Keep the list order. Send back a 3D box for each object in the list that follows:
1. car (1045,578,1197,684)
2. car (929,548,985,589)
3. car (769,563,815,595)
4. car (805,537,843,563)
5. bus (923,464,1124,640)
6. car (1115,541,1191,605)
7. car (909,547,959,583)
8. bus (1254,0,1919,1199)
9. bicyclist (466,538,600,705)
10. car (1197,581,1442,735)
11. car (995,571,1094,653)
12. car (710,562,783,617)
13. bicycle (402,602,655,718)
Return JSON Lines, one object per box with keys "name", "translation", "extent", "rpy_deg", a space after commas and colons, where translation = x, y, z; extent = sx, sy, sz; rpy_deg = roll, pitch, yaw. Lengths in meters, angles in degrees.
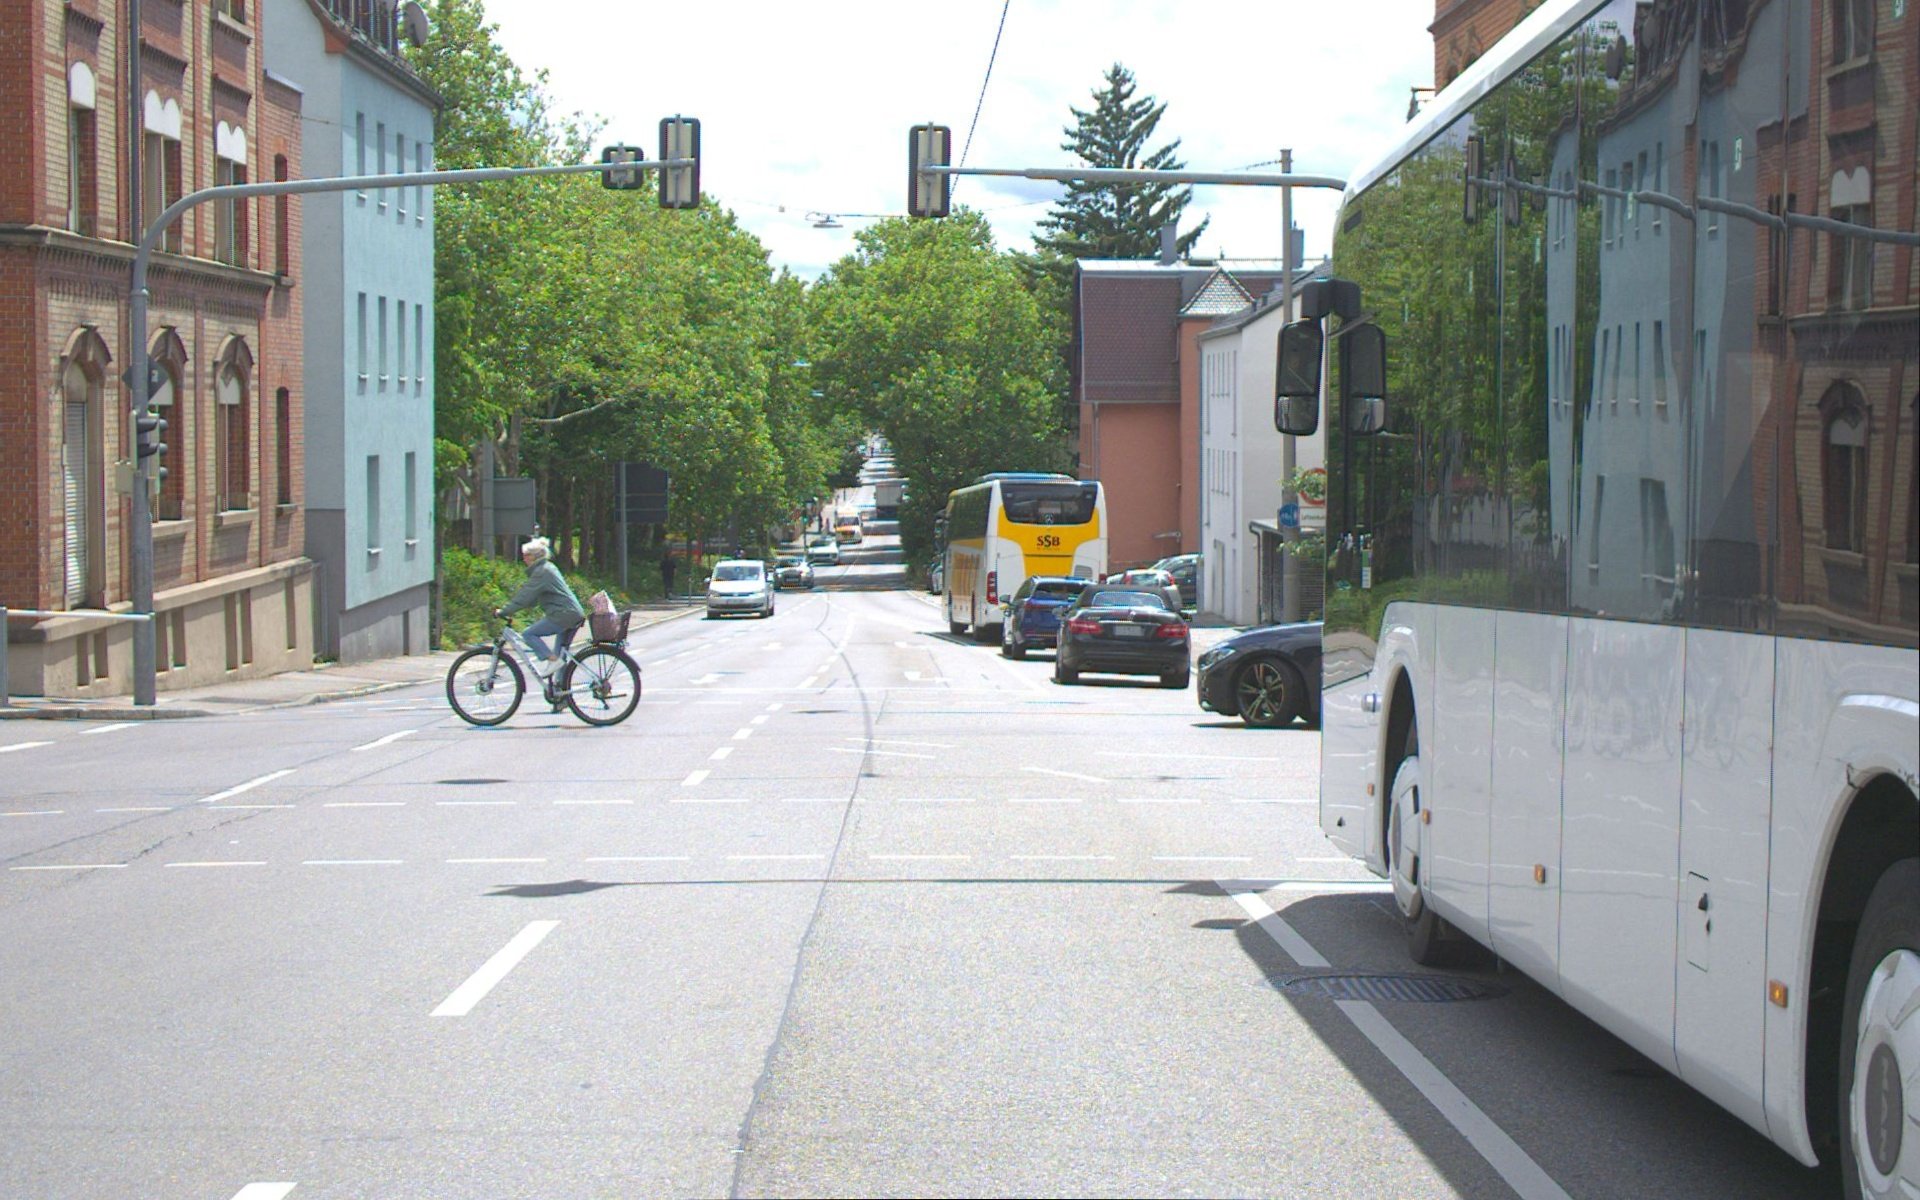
{"name": "car", "translation": [2.214, 0.408, 48.409], "extent": [1.865, 1.363, 4.547], "rpy_deg": [-1, 1, -1]}
{"name": "car", "translation": [-0.124, -1.194, 129.389], "extent": [1.879, 1.487, 4.001], "rpy_deg": [-1, 1, -3]}
{"name": "car", "translation": [-7.392, -0.934, 151.563], "extent": [1.865, 1.363, 4.547], "rpy_deg": [-1, 1, -1]}
{"name": "car", "translation": [-8.418, -3.085, 212.610], "extent": [2.207, 1.607, 4.547], "rpy_deg": [-1, 1, -1]}
{"name": "bus", "translation": [1.268, -1.084, 76.930], "extent": [3.300, 3.618, 11.246], "rpy_deg": [-1, 1, -5]}
{"name": "car", "translation": [5.218, -0.749, 93.310], "extent": [1.767, 1.660, 4.000], "rpy_deg": [-1, 1, -1]}
{"name": "car", "translation": [-1.118, -1.502, 146.364], "extent": [1.879, 1.487, 4.001], "rpy_deg": [-1, 1, -3]}
{"name": "bus", "translation": [2.878, -0.285, 9.256], "extent": [2.904, 3.498, 12.488], "rpy_deg": [1, 1, -1]}
{"name": "bicyclist", "translation": [-3.865, 0.190, 31.170], "extent": [1.072, 1.494, 0.590], "rpy_deg": [-1, 1, 8]}
{"name": "car", "translation": [3.273, 0.495, 31.975], "extent": [1.797, 1.271, 4.000], "rpy_deg": [-1, 1, -1]}
{"name": "car", "translation": [1.476, 0.187, 61.065], "extent": [1.608, 1.371, 4.000], "rpy_deg": [0, 1, -1]}
{"name": "car", "translation": [-6.317, -0.342, 101.989], "extent": [1.935, 1.558, 4.389], "rpy_deg": [-1, 1, -1]}
{"name": "bicycle", "translation": [-3.908, 0.542, 31.167], "extent": [2.186, 1.016, 0.606], "rpy_deg": [0, 1, 8]}
